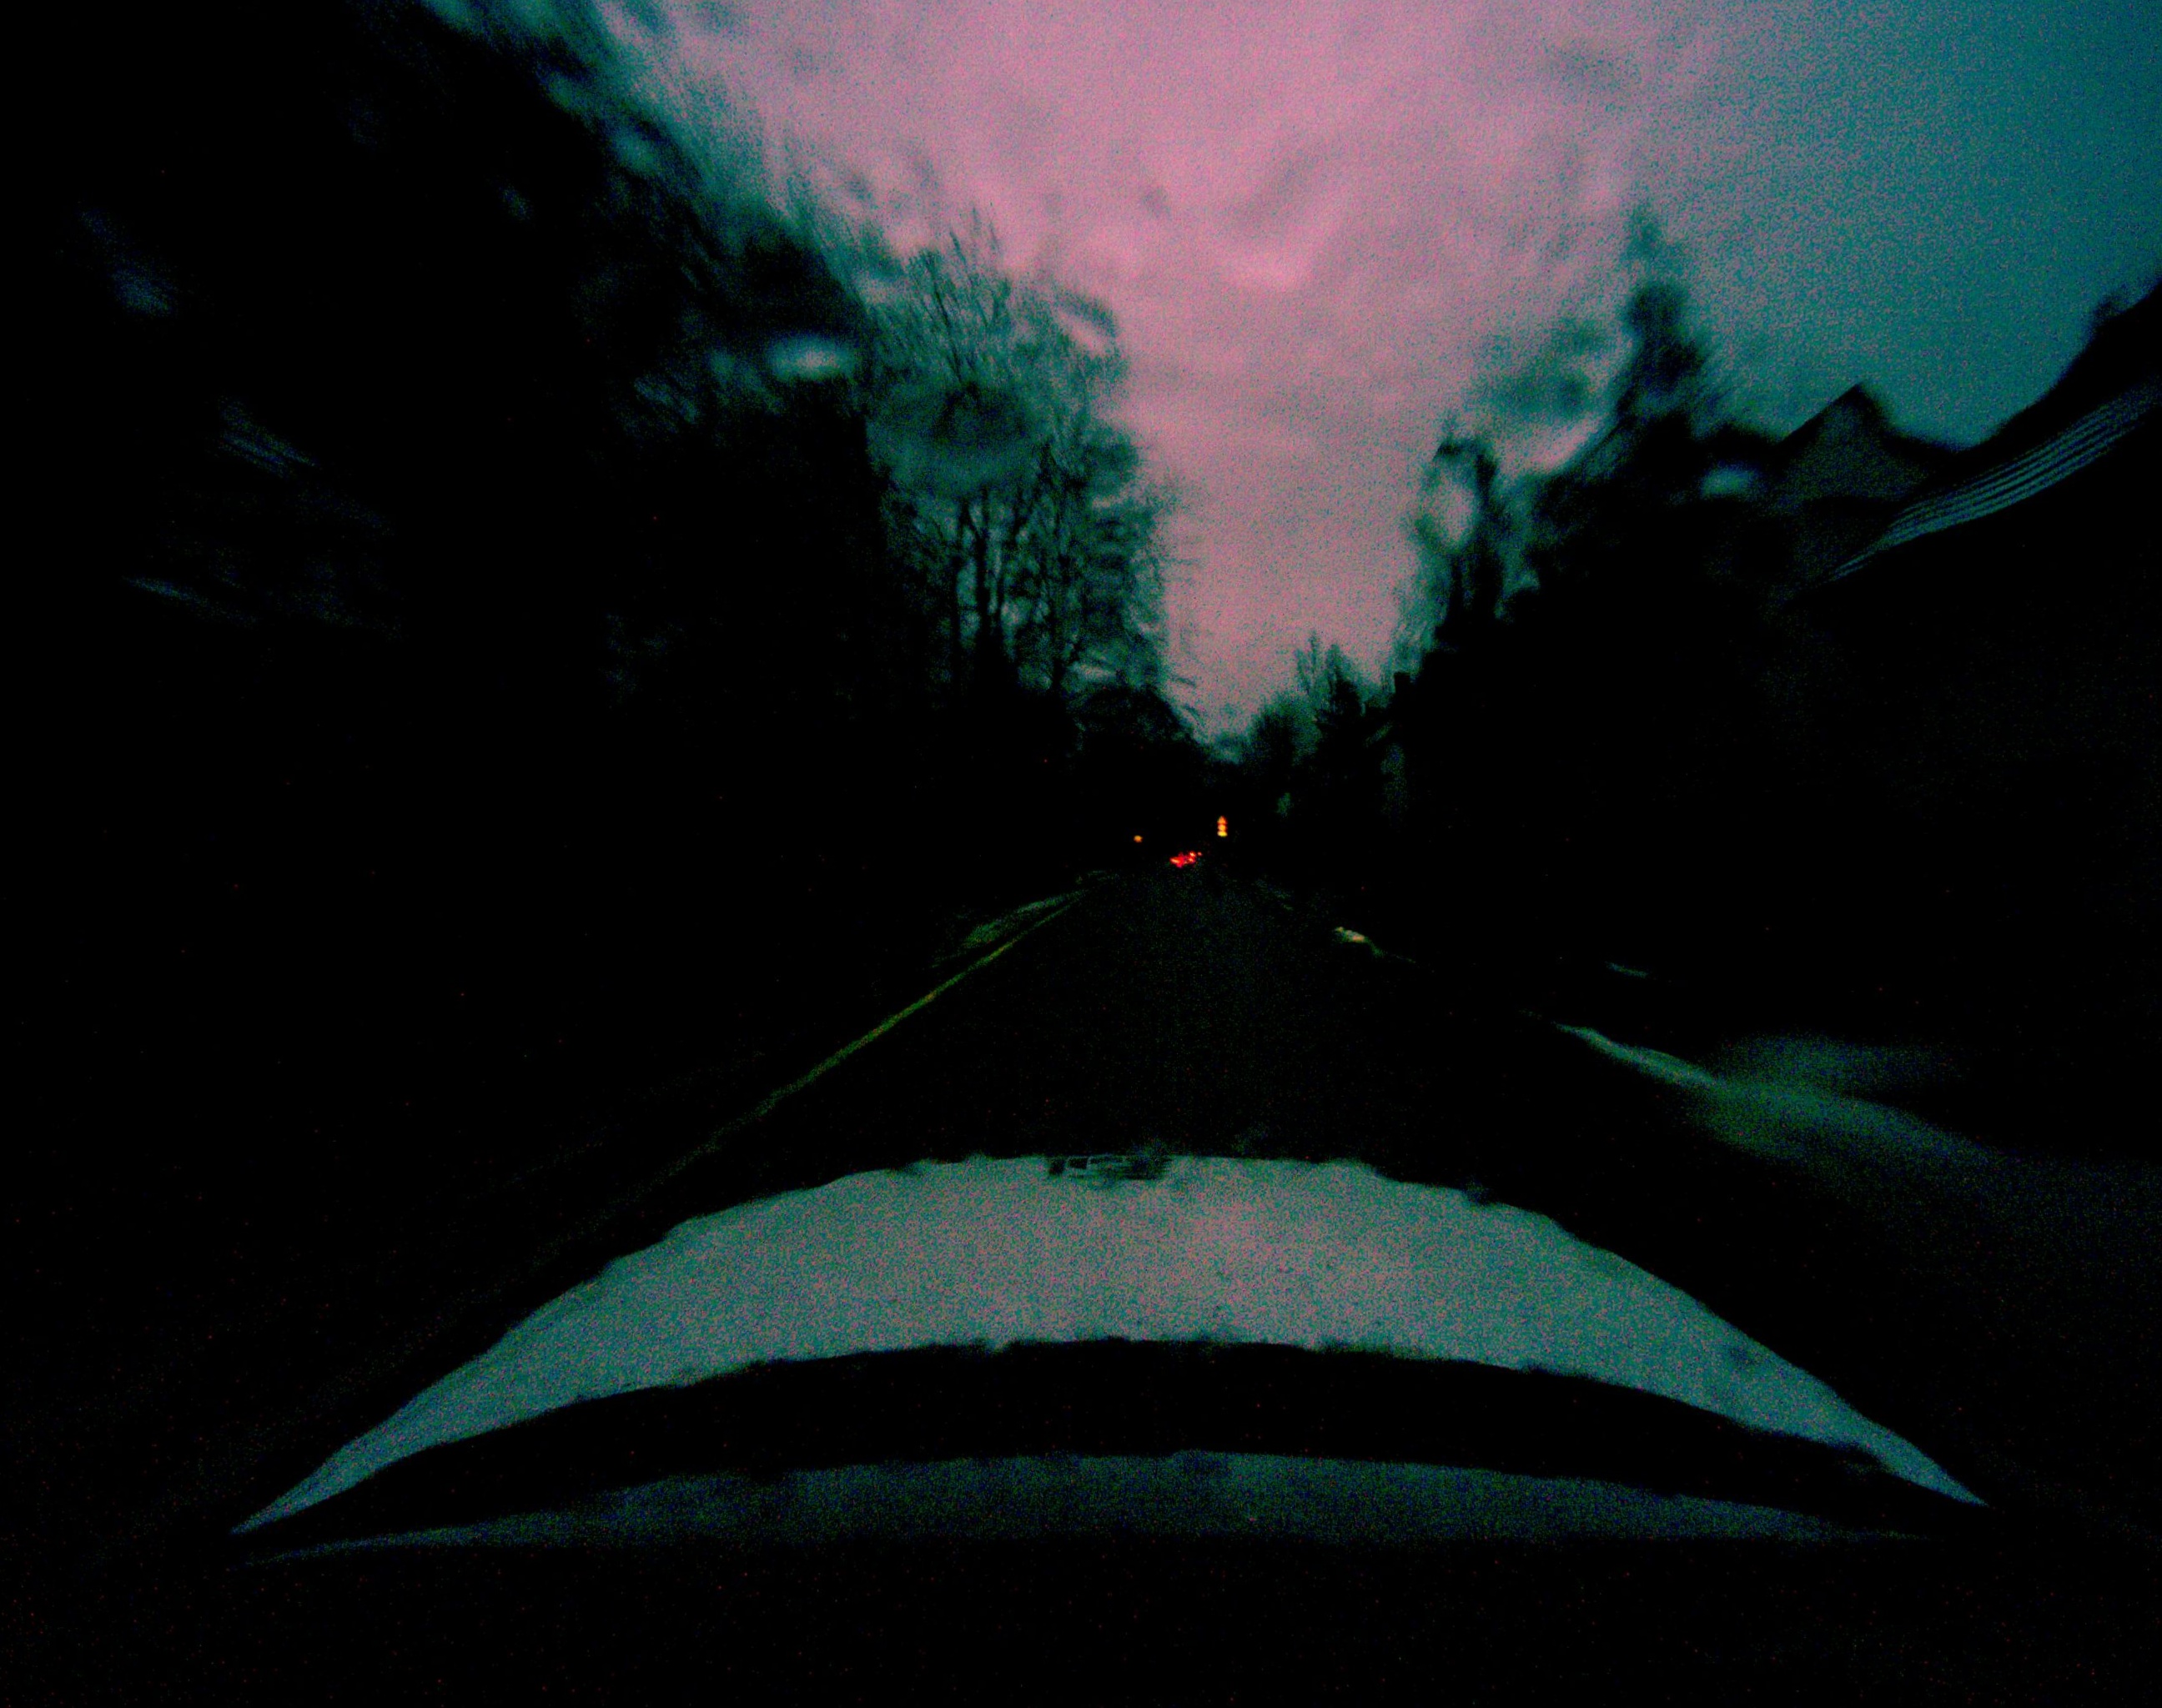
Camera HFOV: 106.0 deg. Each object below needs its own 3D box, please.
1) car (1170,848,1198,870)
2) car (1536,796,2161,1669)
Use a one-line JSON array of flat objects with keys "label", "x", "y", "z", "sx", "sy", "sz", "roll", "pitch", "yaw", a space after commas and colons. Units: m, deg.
[{"label": "car", "x": 8.880, "y": 0.404, "z": 69.723, "sx": 1.919, "sy": 1.781, "sz": 4.015, "roll": -2, "pitch": 0, "yaw": 13}, {"label": "car", "x": 2.708, "y": 0.647, "z": 1.371, "sx": 1.698, "sy": 1.506, "sz": 4.025, "roll": 0, "pitch": 0, "yaw": 1}]
